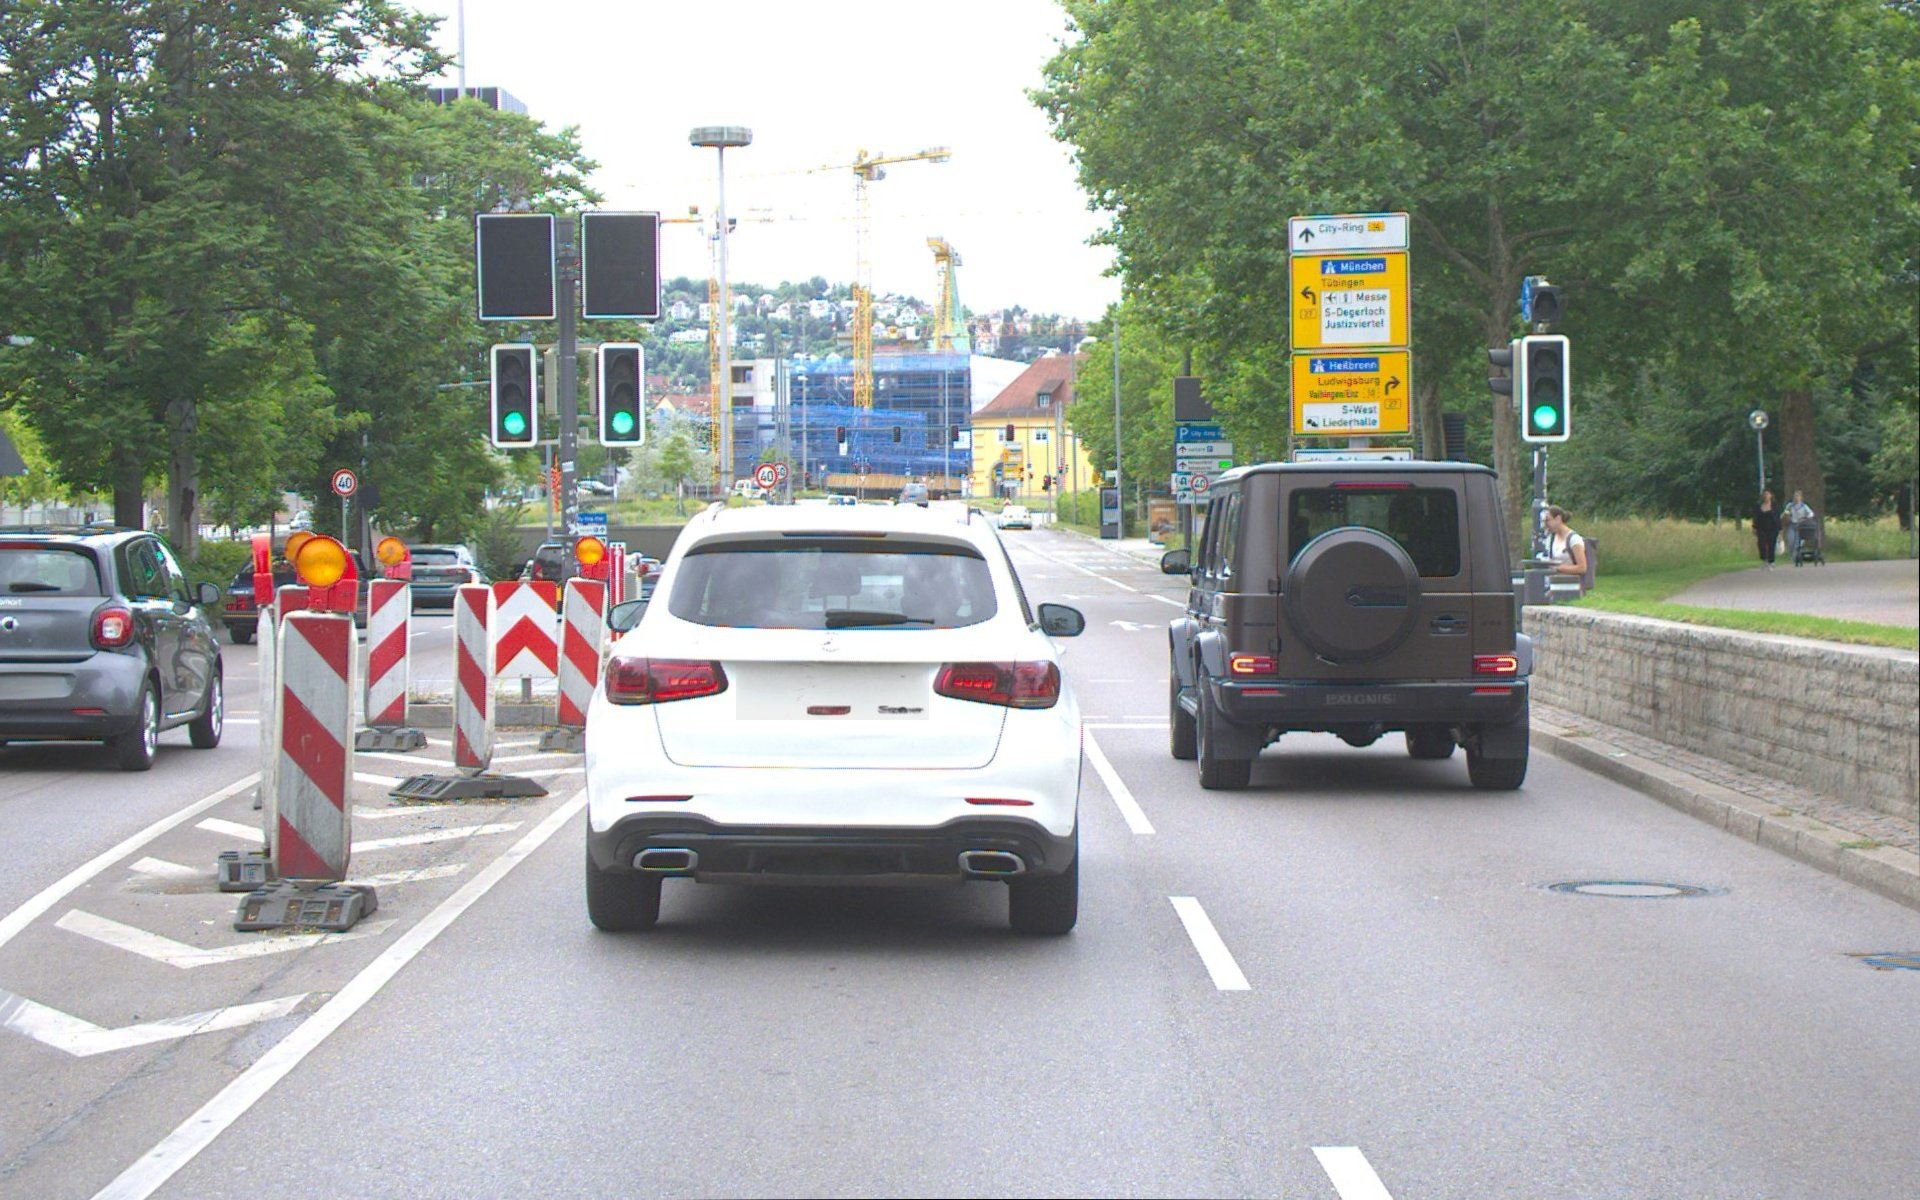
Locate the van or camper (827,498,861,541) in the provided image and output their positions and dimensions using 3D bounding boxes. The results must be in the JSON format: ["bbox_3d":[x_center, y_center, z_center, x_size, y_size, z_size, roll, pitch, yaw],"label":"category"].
[{"bbox_3d":[-6.701,-4.605,197.965,1.922,2.312,4.000,1,-1,-2],"label":"van or camper"}]

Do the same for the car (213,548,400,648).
[{"bbox_3d":[-9.249,-0.059,48.930,1.719,1.288,4.000,2,1,2],"label":"car"}]

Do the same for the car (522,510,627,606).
[{"bbox_3d":[-7.176,-0.799,64.247,1.719,1.673,4.001,2,1,-4],"label":"car"}]

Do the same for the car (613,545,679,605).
[{"bbox_3d":[-8.887,-0.709,97.144,1.718,1.579,4.001,2,1,-6],"label":"car"}]

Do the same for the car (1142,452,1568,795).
[{"bbox_3d":[2.370,0.119,21.871,1.977,1.887,4.707,2,0,-2],"label":"car"}]

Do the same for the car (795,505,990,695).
[{"bbox_3d":[-0.639,-0.003,32.334,1.672,1.622,4.000,2,0,-1],"label":"car"}]

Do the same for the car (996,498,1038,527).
[{"bbox_3d":[3.439,-5.280,206.976,1.993,1.612,4.001,2,0,-7],"label":"car"}]

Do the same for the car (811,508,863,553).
[{"bbox_3d":[-5.129,-2.878,143.587,1.993,1.751,4.000,2,0,-1],"label":"car"}]

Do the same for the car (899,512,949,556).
[{"bbox_3d":[-1.593,-2.868,150.092,1.993,1.774,4.000,2,0,-2],"label":"car"}]

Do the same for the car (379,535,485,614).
[{"bbox_3d":[-10.958,-0.553,71.562,1.753,1.548,4.001,2,1,-3],"label":"car"}]

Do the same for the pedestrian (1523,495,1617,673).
[{"bbox_3d":[5.757,-0.152,32.474,0.697,1.650,0.684,2,0,-2],"label":"pedestrian"}]

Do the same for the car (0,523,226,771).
[{"bbox_3d":[-5.939,0.268,22.710,1.627,1.504,3.540,1,0,-4],"label":"car"}]

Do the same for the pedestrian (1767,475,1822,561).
[{"bbox_3d":[18.220,-1.784,75.080,0.997,1.830,1.029,2,0,7],"label":"pedestrian"}]

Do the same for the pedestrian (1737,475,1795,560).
[{"bbox_3d":[16.586,-1.696,70.767,0.896,1.726,0.969,2,1,-1],"label":"pedestrian"}]

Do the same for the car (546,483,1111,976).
[{"bbox_3d":[-0.554,0.445,14.132,1.940,1.678,4.000,2,0,-3],"label":"car"}]

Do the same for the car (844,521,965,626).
[{"bbox_3d":[-0.935,-0.451,55.455,1.719,1.579,4.001,2,1,-4],"label":"car"}]

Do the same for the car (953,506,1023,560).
[{"bbox_3d":[0.879,-2.151,111.090,1.993,1.656,4.000,2,0,-2],"label":"car"}]

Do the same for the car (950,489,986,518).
[{"bbox_3d":[0.418,-5.397,192.744,1.719,1.579,4.001,2,1,-4],"label":"car"}]

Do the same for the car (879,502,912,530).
[{"bbox_3d":[-3.850,-5.027,205.479,1.719,1.579,4.001,2,1,-4],"label":"car"}]
